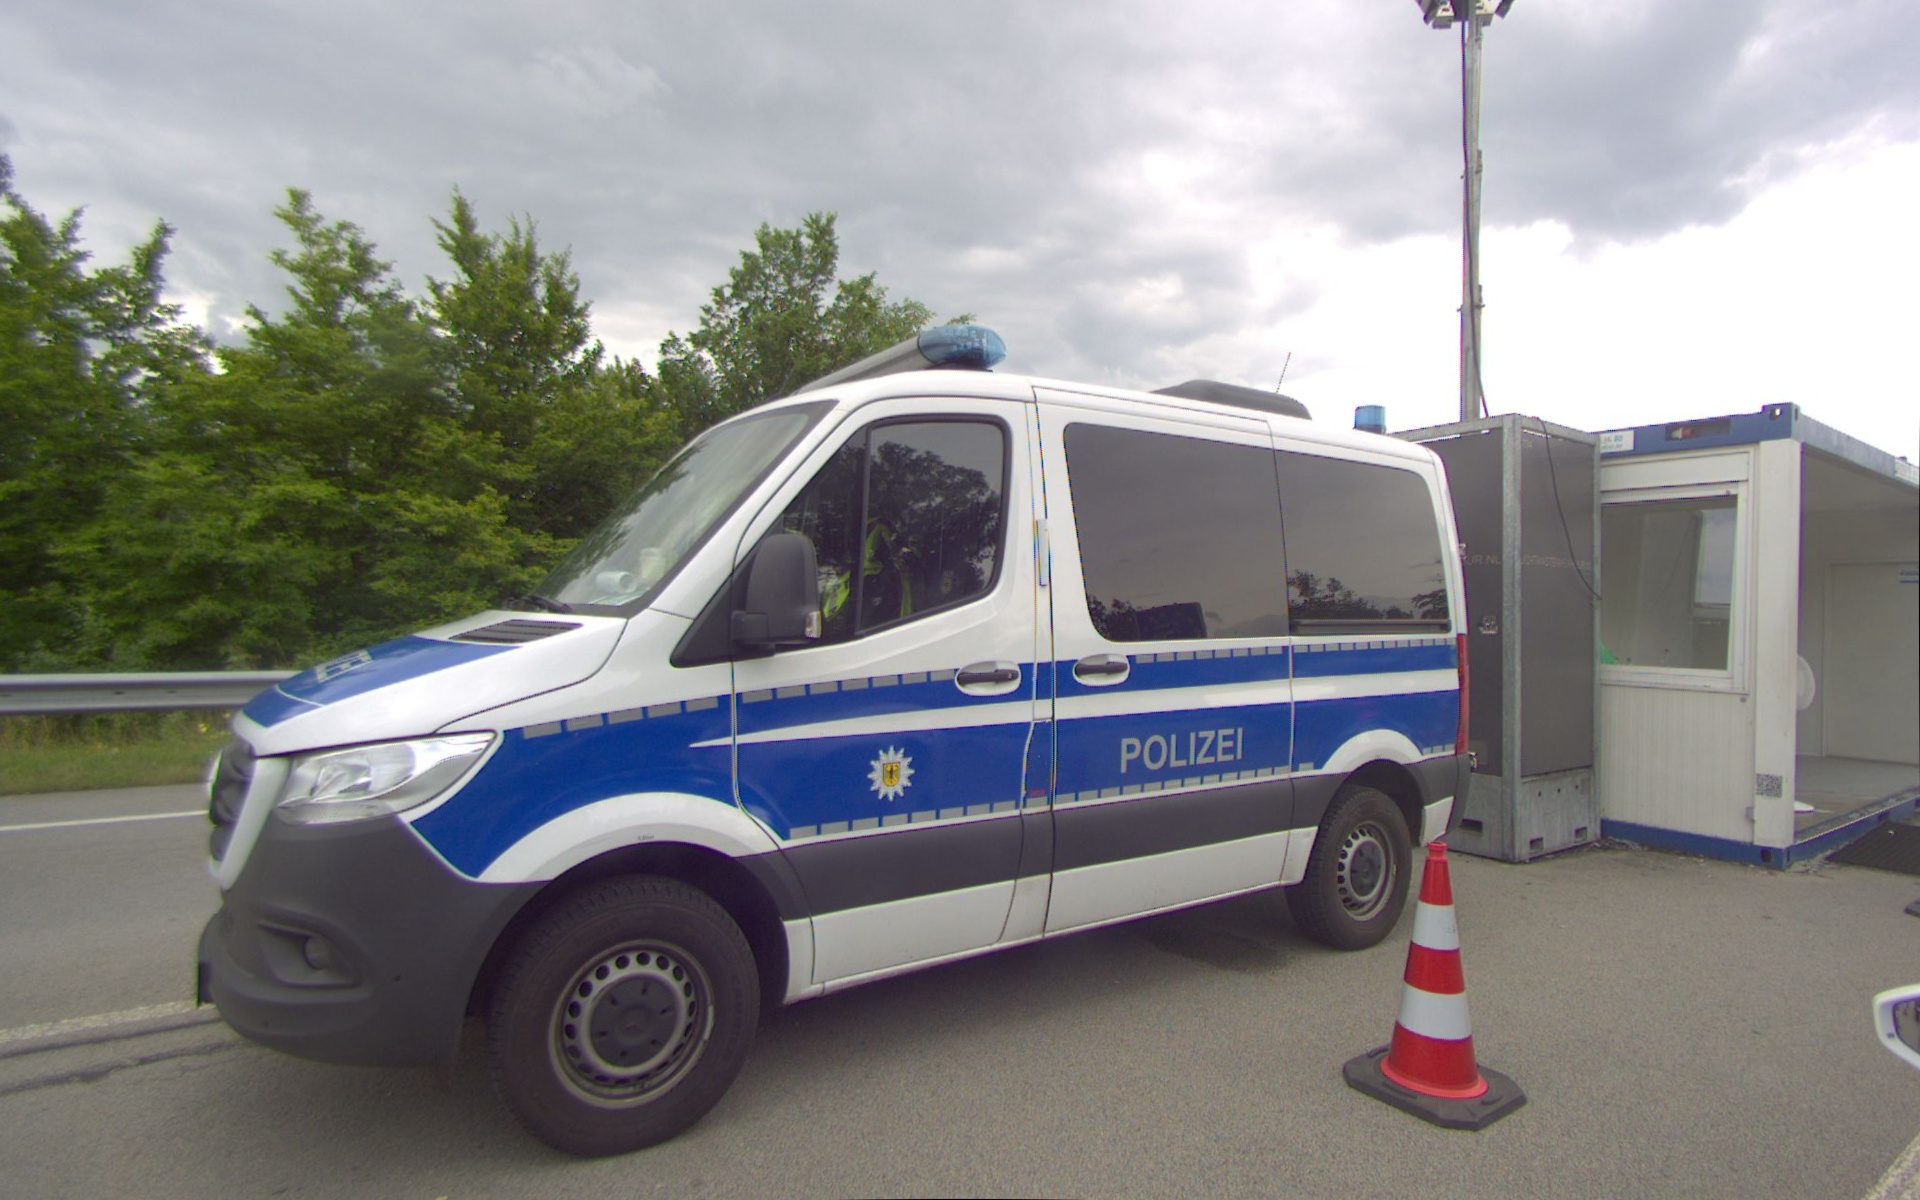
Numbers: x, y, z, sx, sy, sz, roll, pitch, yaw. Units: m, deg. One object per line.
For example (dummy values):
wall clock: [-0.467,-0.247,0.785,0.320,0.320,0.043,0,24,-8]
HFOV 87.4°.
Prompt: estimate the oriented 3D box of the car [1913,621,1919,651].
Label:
car: [52.214,1.939,53.613,1.836,1.518,4.230,1,-1,45]

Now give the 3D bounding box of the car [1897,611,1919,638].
car: [83.154,2.158,87.577,1.833,2.252,4.237,1,0,39]

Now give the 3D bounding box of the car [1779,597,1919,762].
car: [11.792,0.896,12.160,3.967,1.766,1.857,1,0,-34]

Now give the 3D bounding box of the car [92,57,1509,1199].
car: [-0.063,0.233,4.279,5.224,2.496,2.017,1,0,-34]
